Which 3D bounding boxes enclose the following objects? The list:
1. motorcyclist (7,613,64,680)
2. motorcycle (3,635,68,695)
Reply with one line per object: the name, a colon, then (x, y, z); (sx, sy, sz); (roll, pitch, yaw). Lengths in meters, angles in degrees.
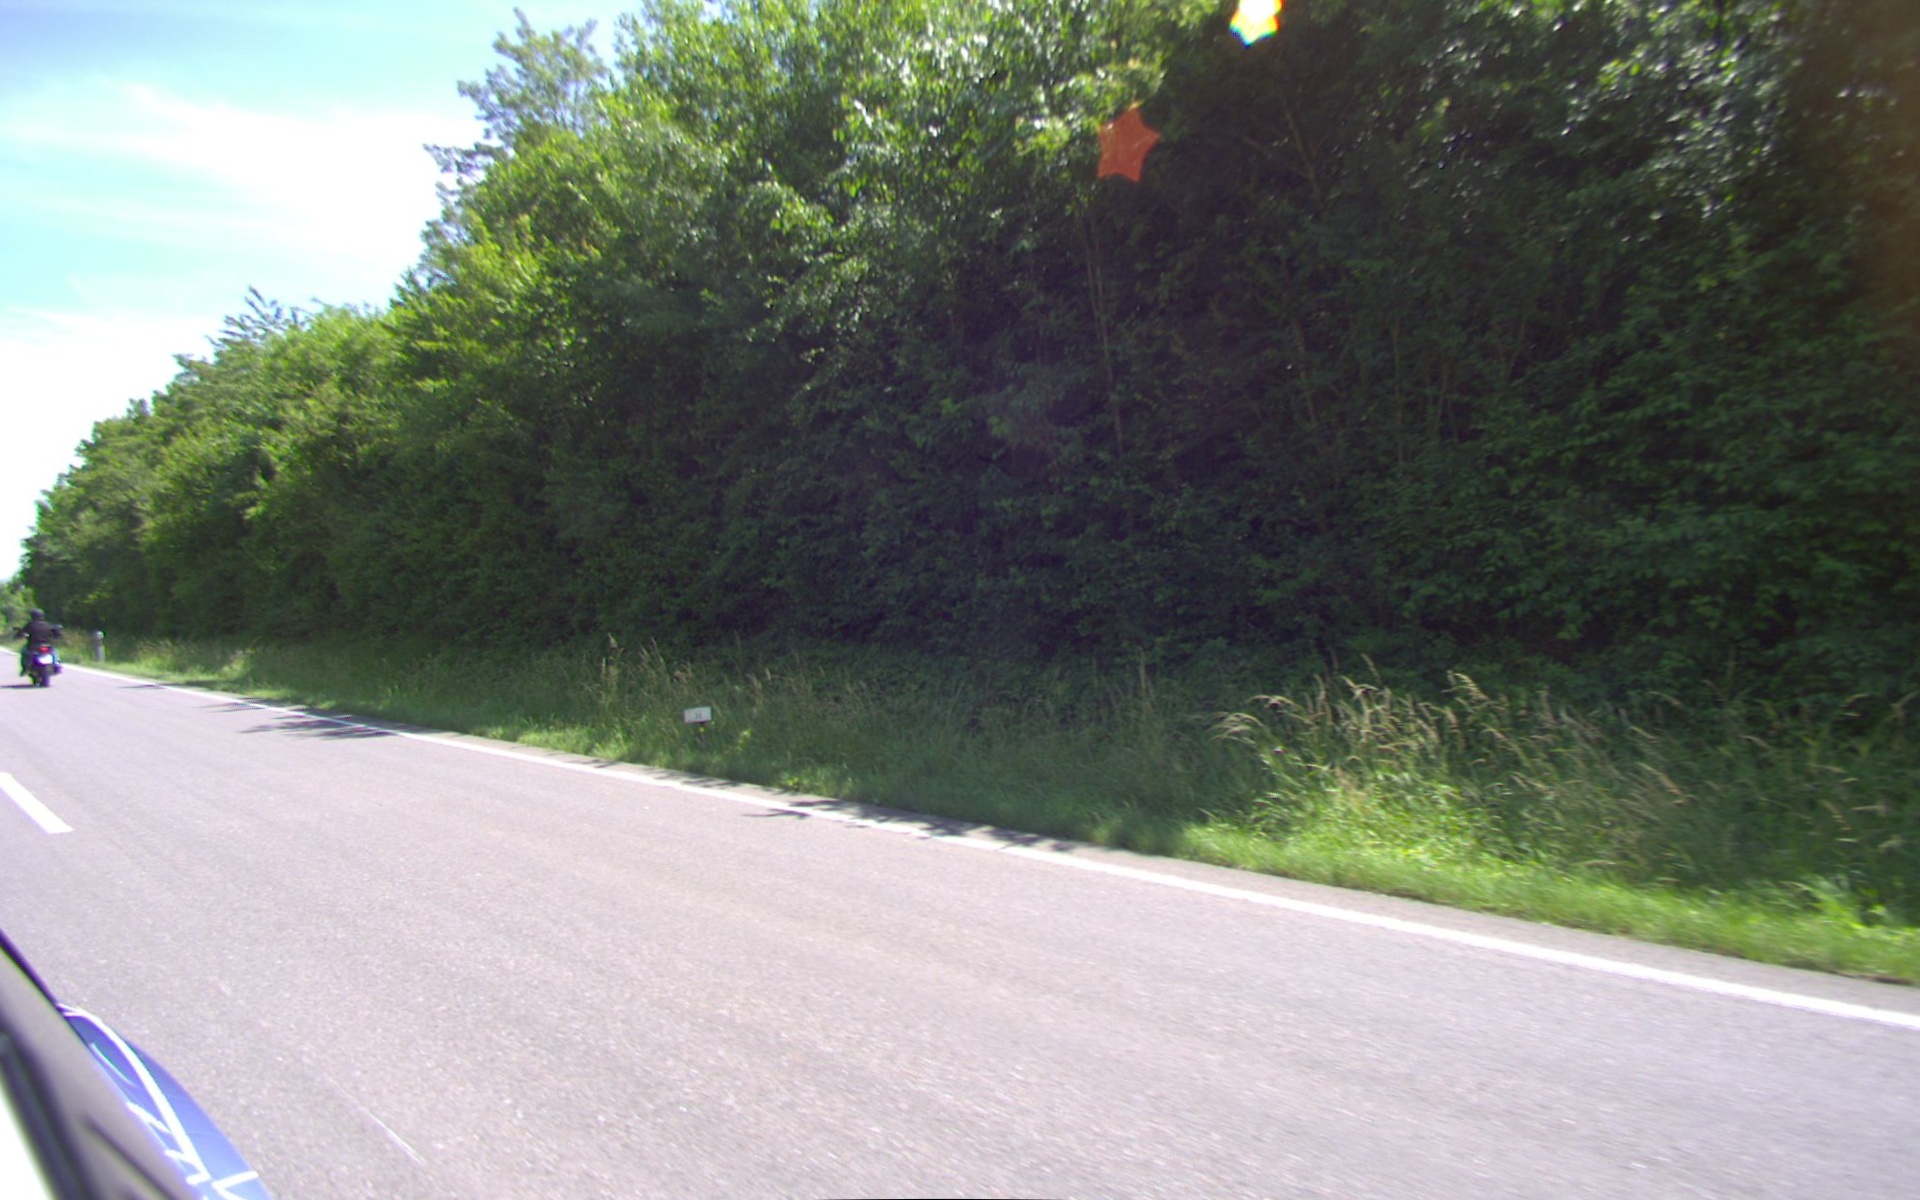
motorcyclist: (-20.581, 1.016, 22.526); (1.073, 1.448, 0.840); (-2, -1, 42)
motorcycle: (-20.567, 1.414, 22.503); (2.442, 1.230, 0.854); (-1, -1, 42)
